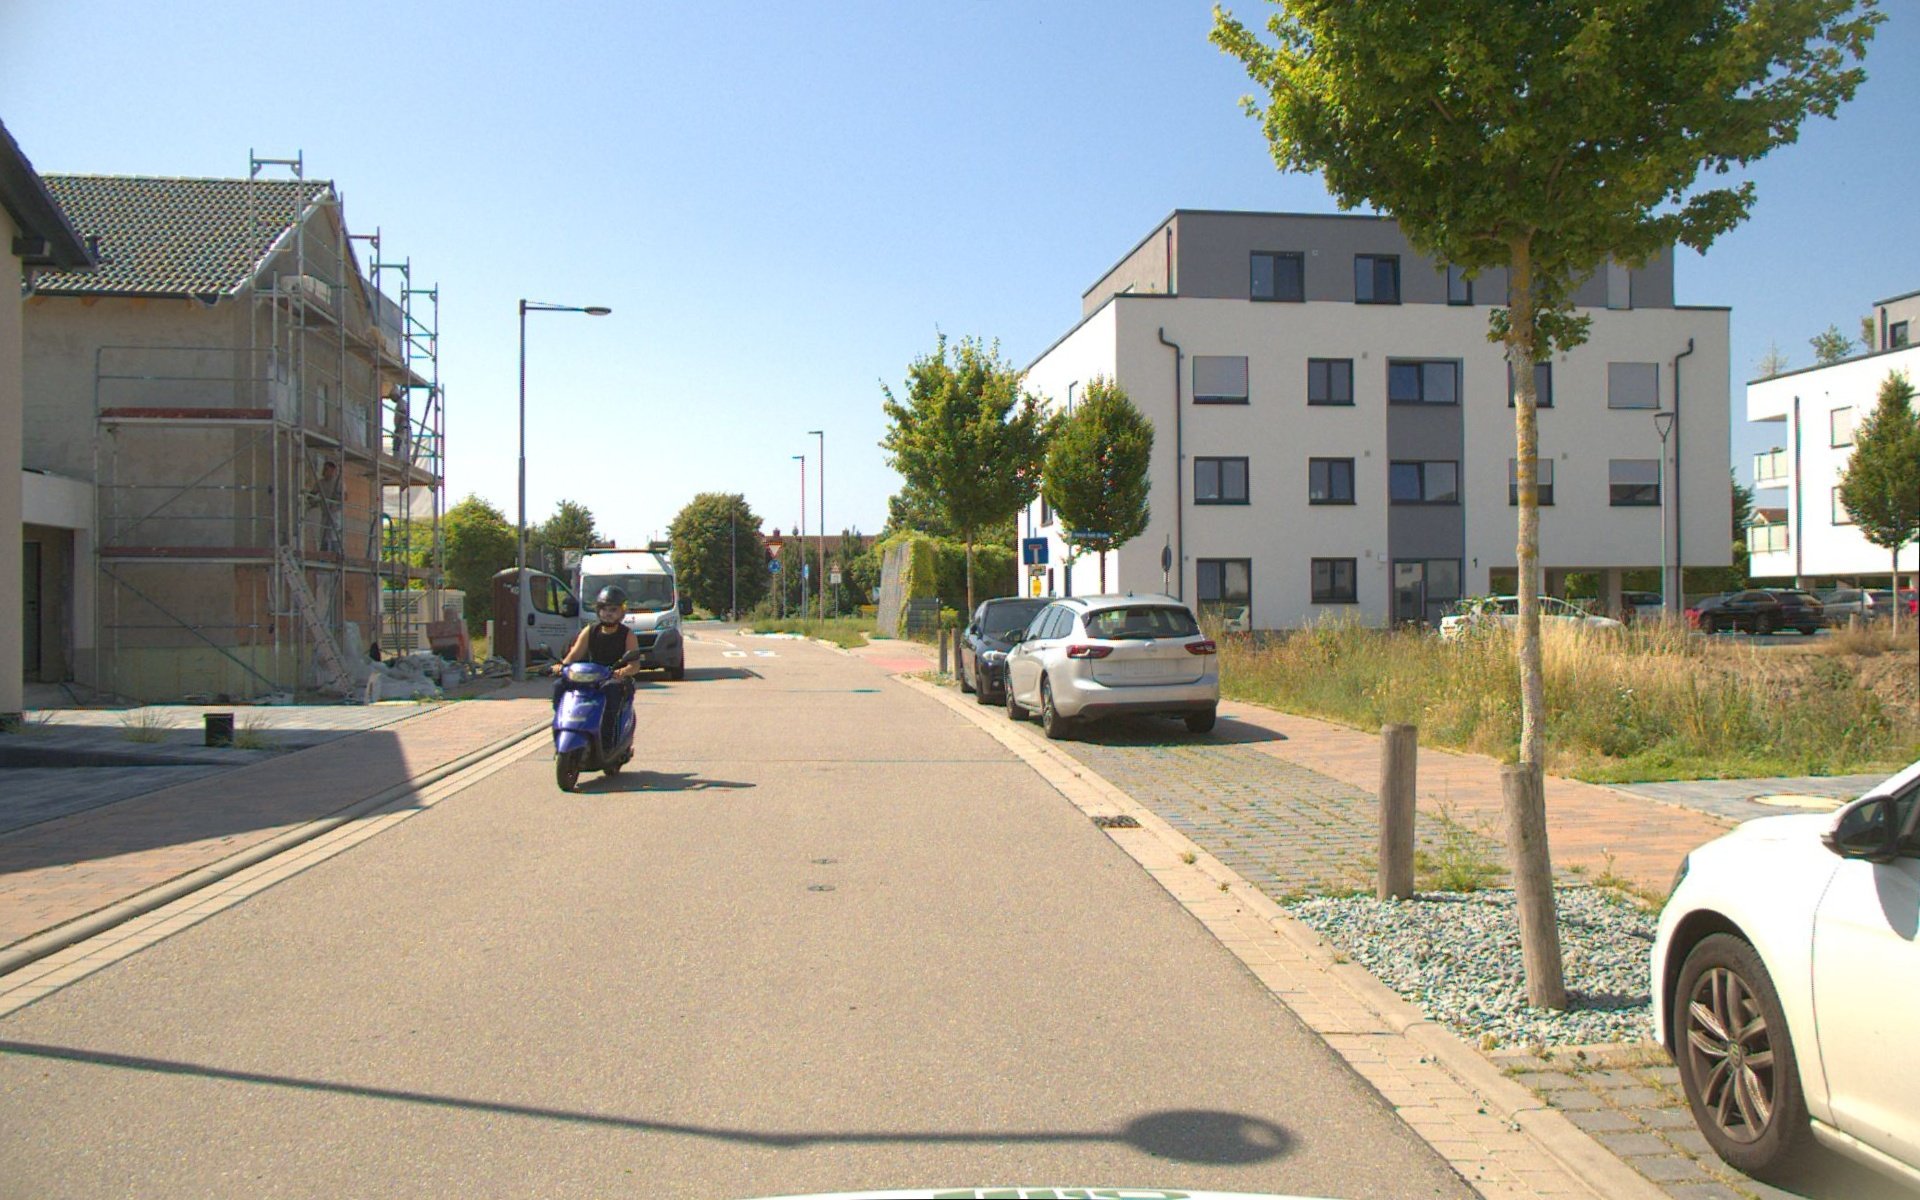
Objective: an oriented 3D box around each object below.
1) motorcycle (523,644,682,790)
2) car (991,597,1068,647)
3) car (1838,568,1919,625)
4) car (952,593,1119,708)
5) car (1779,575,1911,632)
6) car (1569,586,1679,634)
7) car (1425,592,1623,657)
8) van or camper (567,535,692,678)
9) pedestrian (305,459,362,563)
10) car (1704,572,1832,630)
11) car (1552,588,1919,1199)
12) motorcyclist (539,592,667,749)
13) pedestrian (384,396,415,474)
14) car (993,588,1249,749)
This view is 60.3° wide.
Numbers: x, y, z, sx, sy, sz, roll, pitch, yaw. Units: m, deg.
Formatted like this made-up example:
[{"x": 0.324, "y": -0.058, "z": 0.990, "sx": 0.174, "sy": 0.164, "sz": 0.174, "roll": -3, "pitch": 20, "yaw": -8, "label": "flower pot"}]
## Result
[{"x": -2.966, "y": 0.937, "z": 14.006, "sx": 0.937, "sy": 1.053, "sz": 2.435, "roll": -1, "pitch": 0, "yaw": -3, "label": "motorcycle"}, {"x": 2.135, "y": 0.662, "z": 51.860, "sx": 1.646, "sy": 1.495, "sz": 4.108, "roll": 0, "pitch": 0, "yaw": -9, "label": "car"}, {"x": 32.206, "y": -0.093, "z": 56.523, "sx": 1.841, "sy": 1.841, "sz": 4.165, "roll": -1, "pitch": -1, "yaw": -7, "label": "car"}, {"x": 1.026, "y": 0.675, "z": 25.202, "sx": 1.881, "sy": 1.495, "sz": 5.135, "roll": -2, "pitch": 1, "yaw": -5, "label": "car"}, {"x": 29.716, "y": 0.150, "z": 55.707, "sx": 1.841, "sy": 1.841, "sz": 4.165, "roll": -1, "pitch": -1, "yaw": -7, "label": "car"}, {"x": 22.124, "y": 0.362, "z": 55.246, "sx": 1.841, "sy": 1.529, "sz": 3.673, "roll": -1, "pitch": -1, "yaw": -7, "label": "car"}, {"x": 13.491, "y": 0.580, "z": 39.651, "sx": 4.080, "sy": 1.461, "sz": 1.879, "roll": -1, "pitch": -1, "yaw": -9, "label": "car"}, {"x": -6.732, "y": 0.154, "z": 33.482, "sx": 2.233, "sy": 2.598, "sz": 6.347, "roll": -1, "pitch": -1, "yaw": -12, "label": "van or camper"}, {"x": -10.799, "y": -1.523, "z": 28.508, "sx": 0.568, "sy": 1.709, "sz": 0.744, "roll": -3, "pitch": -3, "yaw": 41, "label": "pedestrian"}, {"x": 26.897, "y": 0.060, "z": 55.214, "sx": 1.841, "sy": 1.841, "sz": 4.165, "roll": -1, "pitch": -1, "yaw": -7, "label": "car"}, {"x": 2.965, "y": 0.718, "z": 3.247, "sx": 1.744, "sy": 1.451, "sz": 4.511, "roll": -2, "pitch": 1, "yaw": -3, "label": "car"}, {"x": -2.958, "y": 0.568, "z": 13.773, "sx": 0.906, "sy": 1.244, "sz": 0.803, "roll": -1, "pitch": 0, "yaw": -4, "label": "motorcyclist"}, {"x": -11.649, "y": -3.416, "z": 34.370, "sx": 0.552, "sy": 1.526, "sz": 0.745, "roll": 0, "pitch": -2, "yaw": -16, "label": "pedestrian"}, {"x": 1.669, "y": 0.663, "z": 19.174, "sx": 1.882, "sy": 1.537, "sz": 5.288, "roll": -2, "pitch": 1, "yaw": -6, "label": "car"}]
